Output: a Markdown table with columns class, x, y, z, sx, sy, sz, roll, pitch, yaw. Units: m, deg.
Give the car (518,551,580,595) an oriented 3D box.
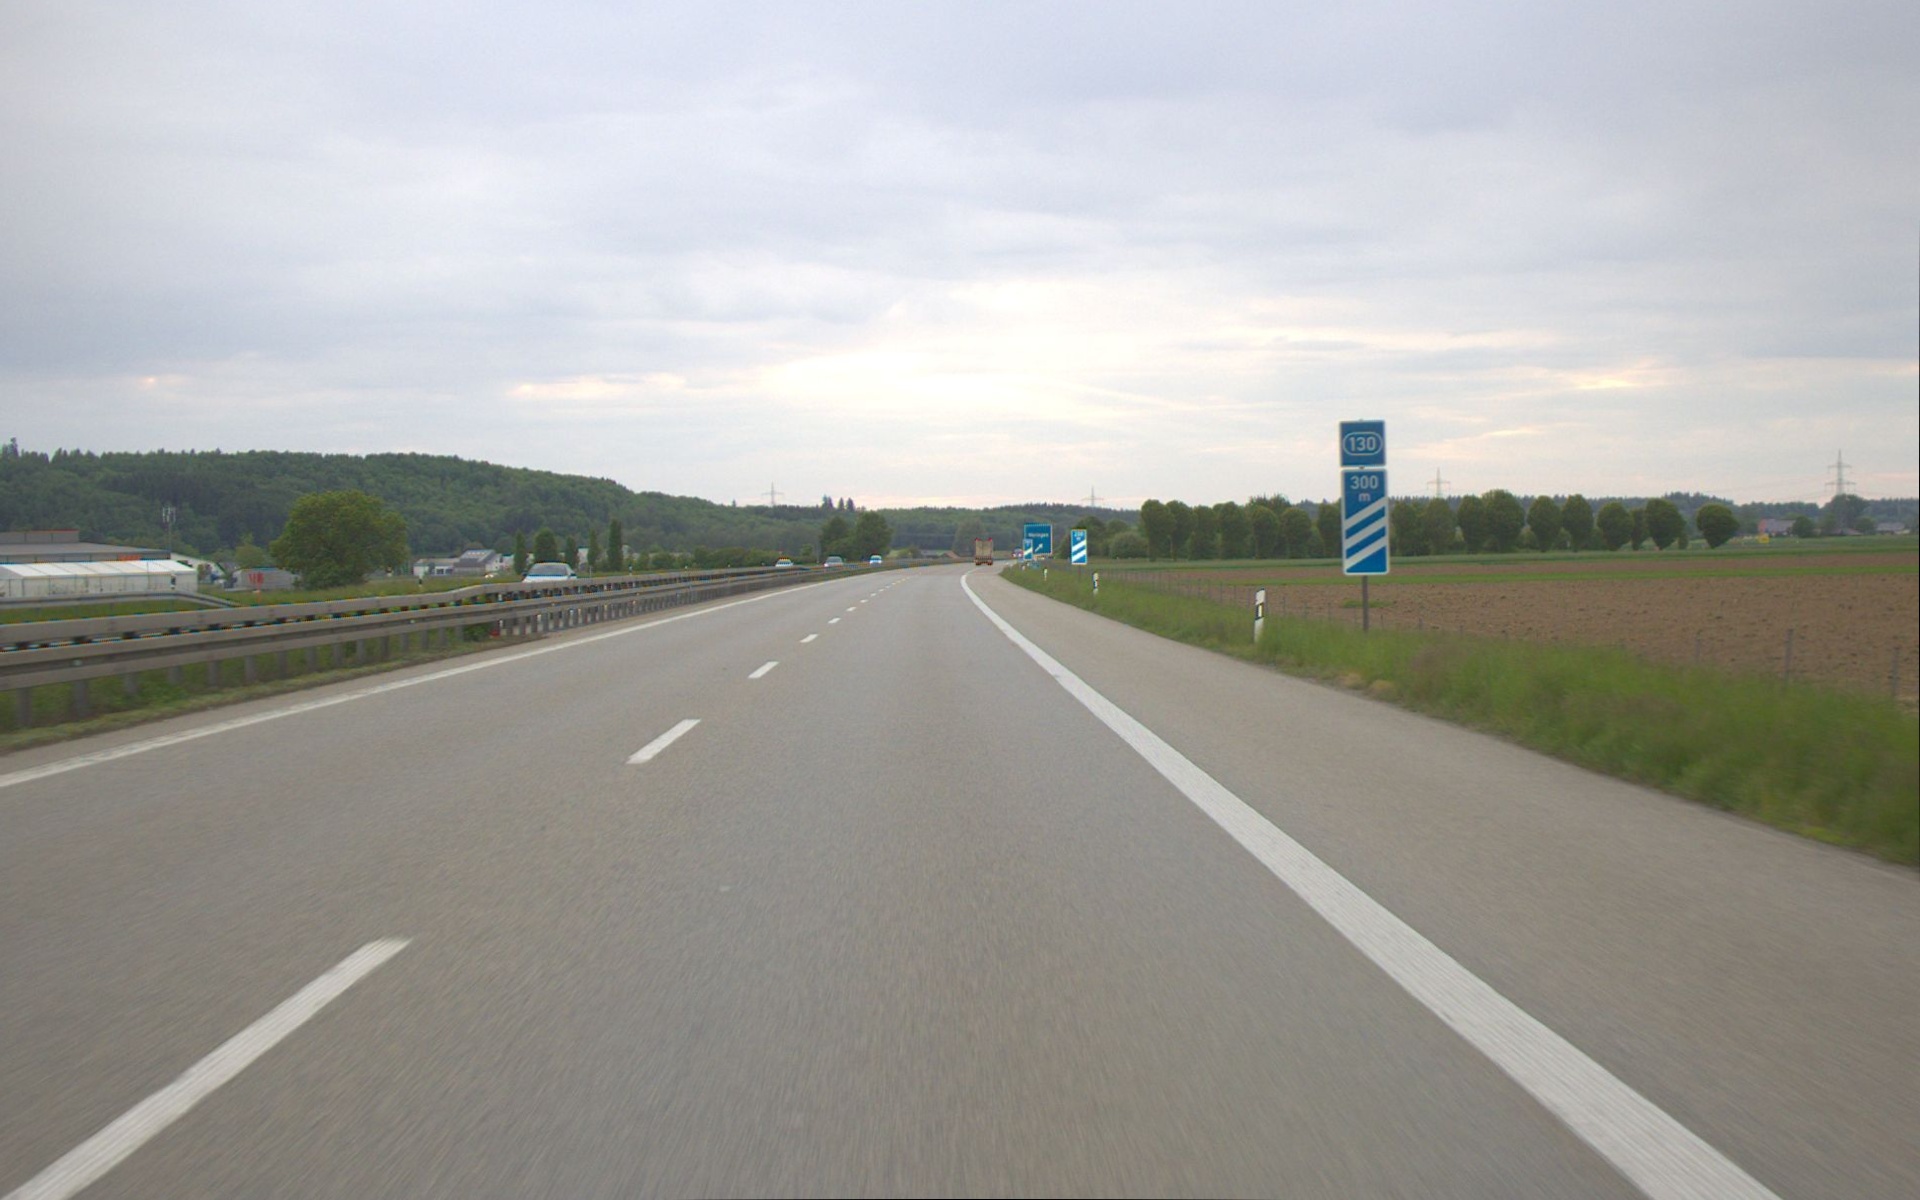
| class | x | y | z | sx | sy | sz | roll | pitch | yaw |
| --- | --- | --- | --- | --- | --- | --- | --- | --- | --- |
| car | -15.167 | -1.013 | 127.069 | 1.740 | 1.569 | 4.857 | 1 | 1 | -1 |
